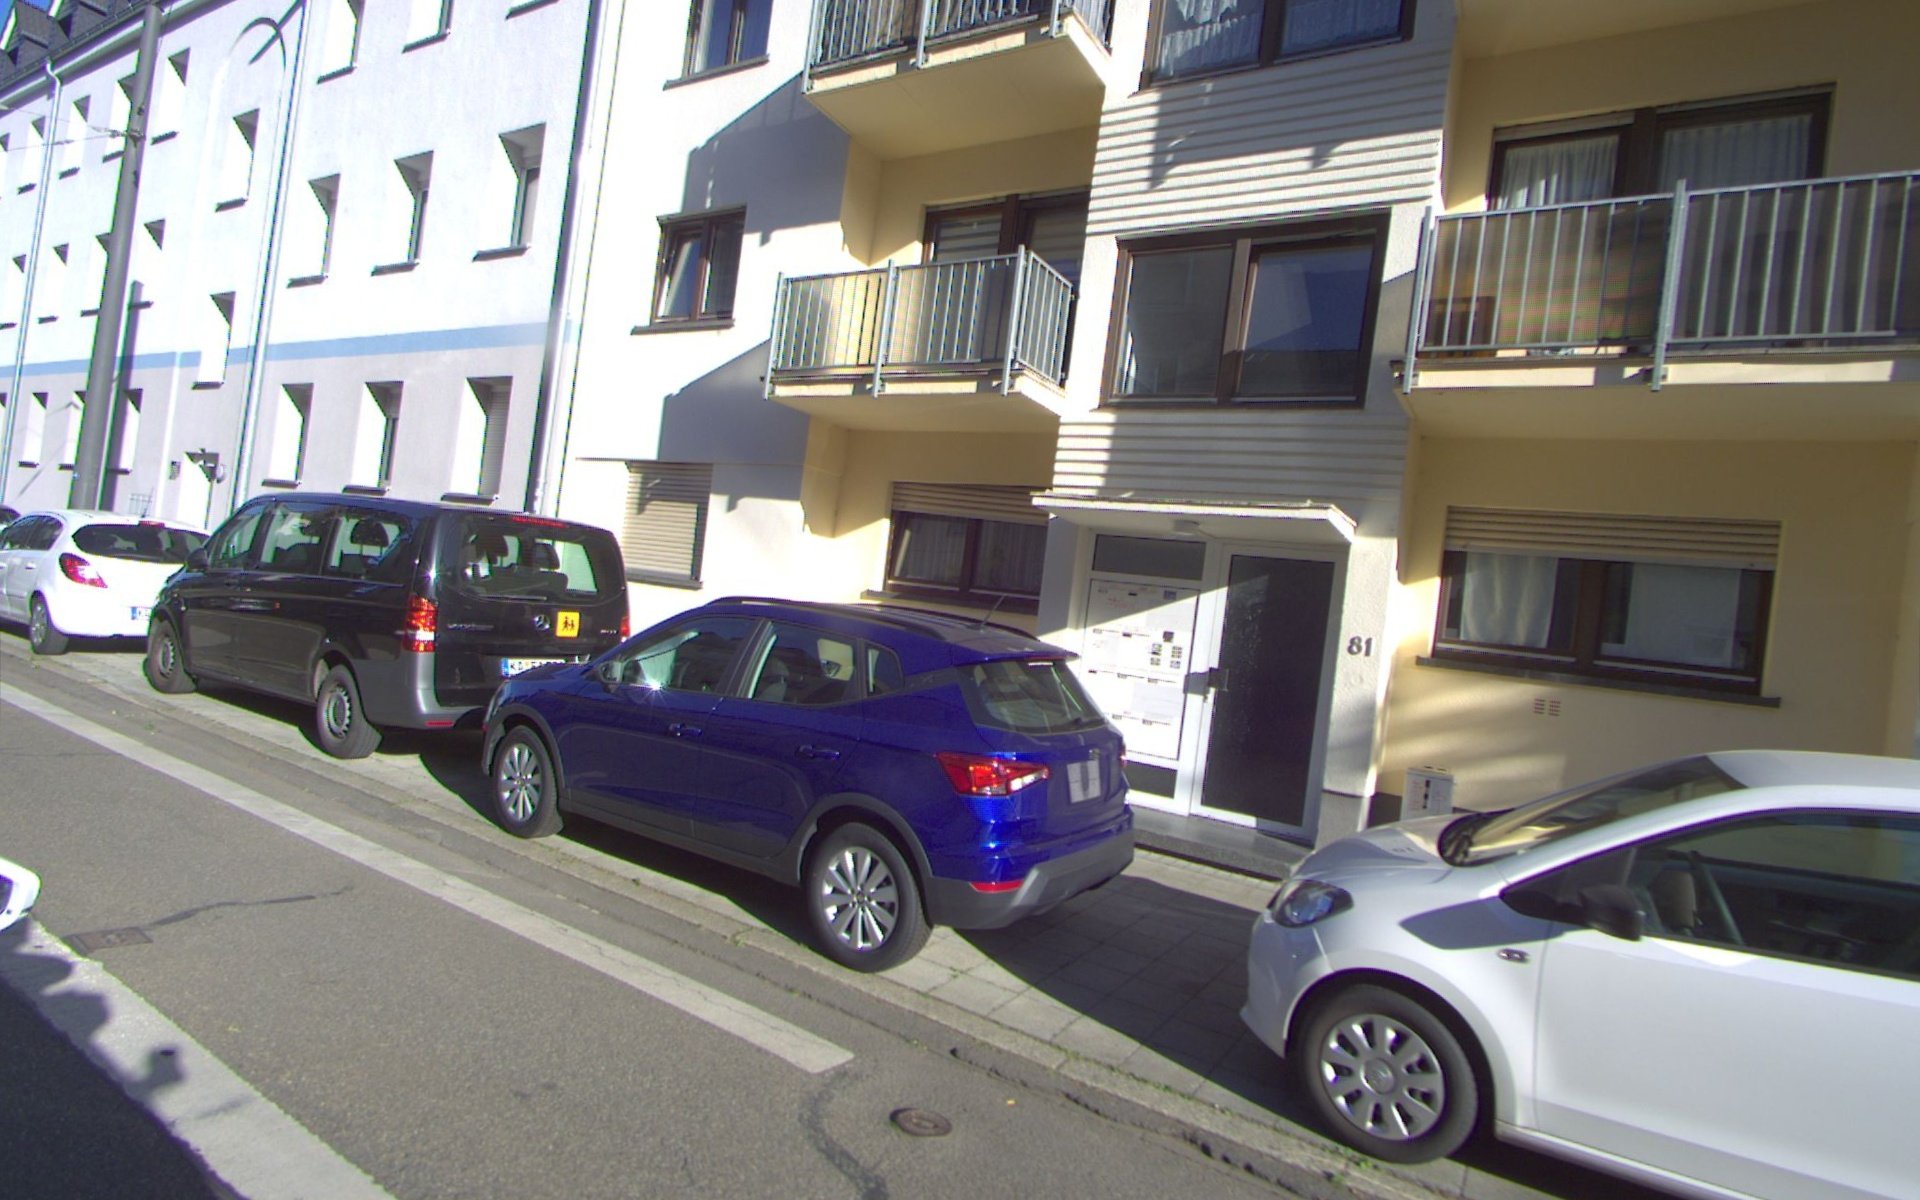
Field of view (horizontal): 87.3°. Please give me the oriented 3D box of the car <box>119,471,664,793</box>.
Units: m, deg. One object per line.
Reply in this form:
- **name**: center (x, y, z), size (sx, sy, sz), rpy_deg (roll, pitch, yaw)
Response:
- **car**: center (-5.023, 0.094, 8.611), size (4.923, 1.945, 1.930), rpy_deg (7, 1, 34)

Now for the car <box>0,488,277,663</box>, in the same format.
- **car**: center (-9.743, -0.330, 11.424), size (3.839, 1.591, 1.802), rpy_deg (7, 1, 32)

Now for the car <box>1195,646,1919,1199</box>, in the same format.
- **car**: center (2.831, 1.164, 3.290), size (3.573, 1.562, 1.554), rpy_deg (7, 1, 33)

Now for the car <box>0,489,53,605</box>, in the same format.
- **car**: center (-15.196, -0.955, 14.935), size (3.841, 1.591, 1.609), rpy_deg (7, 1, 34)

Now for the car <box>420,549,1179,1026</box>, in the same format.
- **car**: center (-1.090, 0.733, 5.744), size (4.150, 1.591, 1.610), rpy_deg (7, 1, 33)
